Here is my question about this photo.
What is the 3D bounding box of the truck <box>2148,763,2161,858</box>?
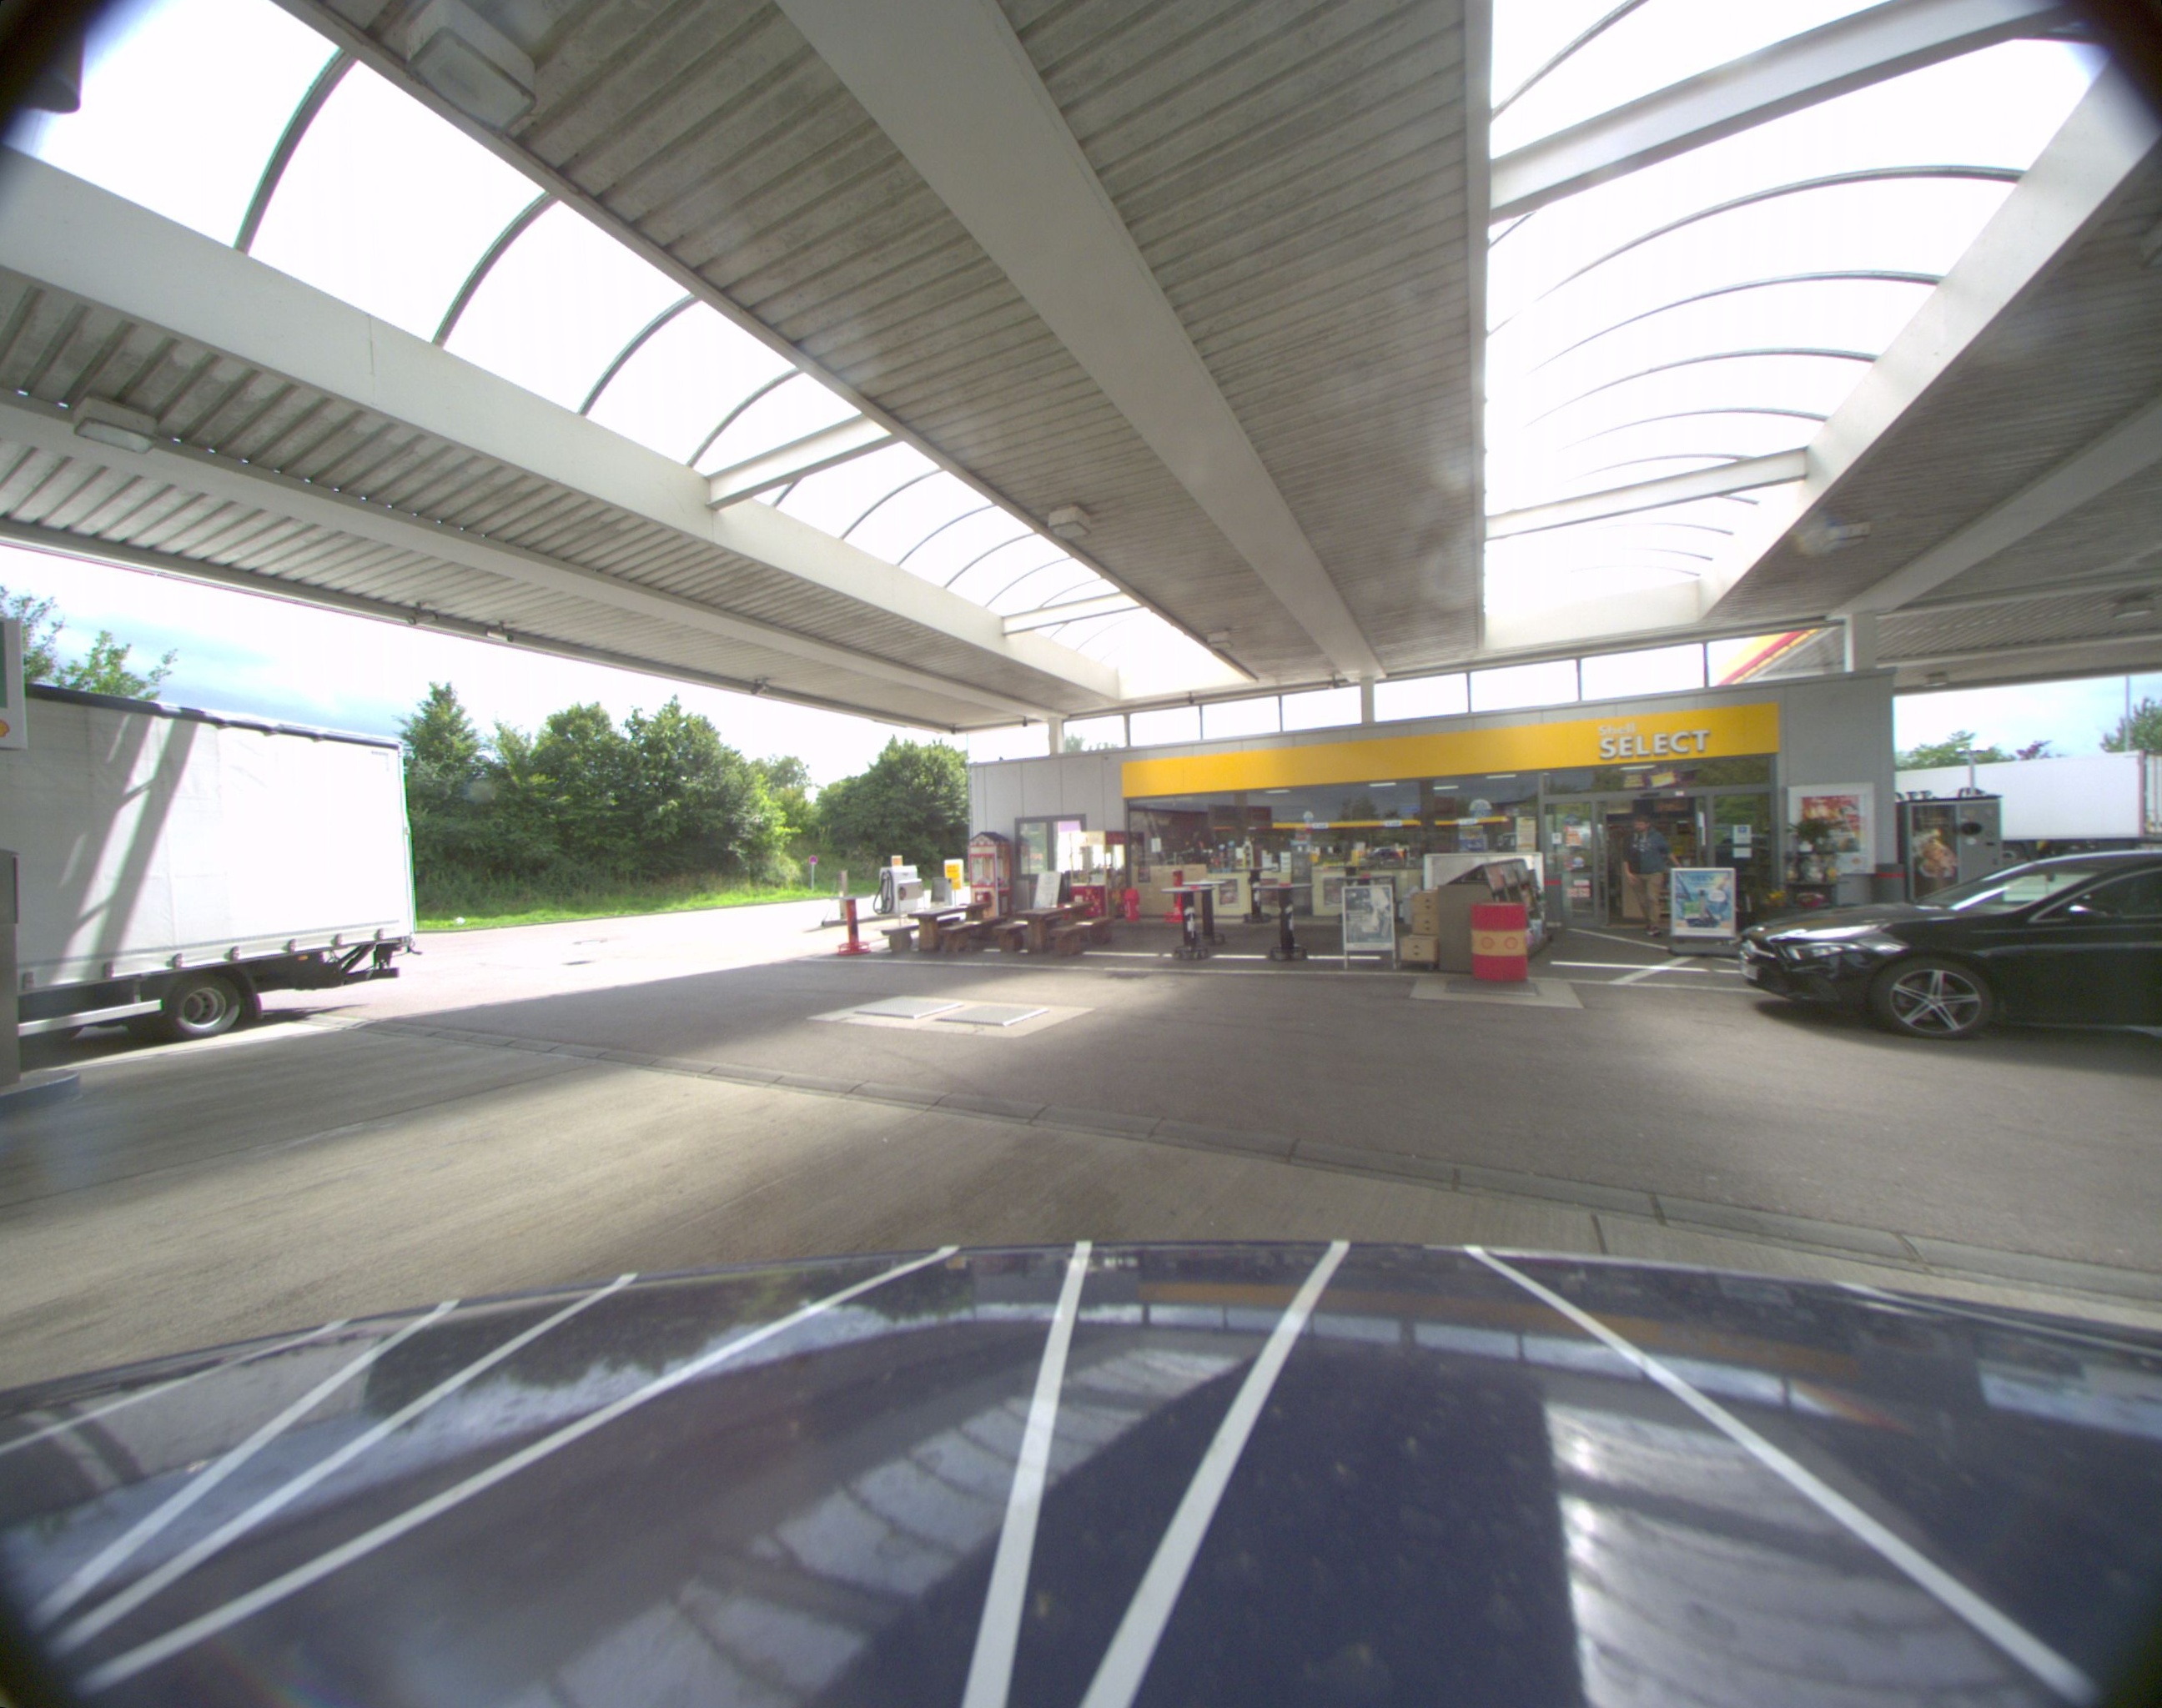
[{"bbox_3d":[51.474,-2.035,33.131,3.383,4.479,6.239,-2,1,29],"label":"truck"}]

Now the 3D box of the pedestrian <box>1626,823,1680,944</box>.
[{"bbox_3d":[9.150,0.465,12.177,0.580,1.895,0.510,-2,1,27],"label":"pedestrian"}]

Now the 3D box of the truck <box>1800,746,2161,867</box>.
[{"bbox_3d":[35.126,-1.608,30.051,2.796,3.982,9.578,-3,1,-16],"label":"truck"}]

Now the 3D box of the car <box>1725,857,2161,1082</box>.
[{"bbox_3d":[8.161,0.816,5.952,4.461,1.491,1.782,-2,1,28],"label":"car"}]
